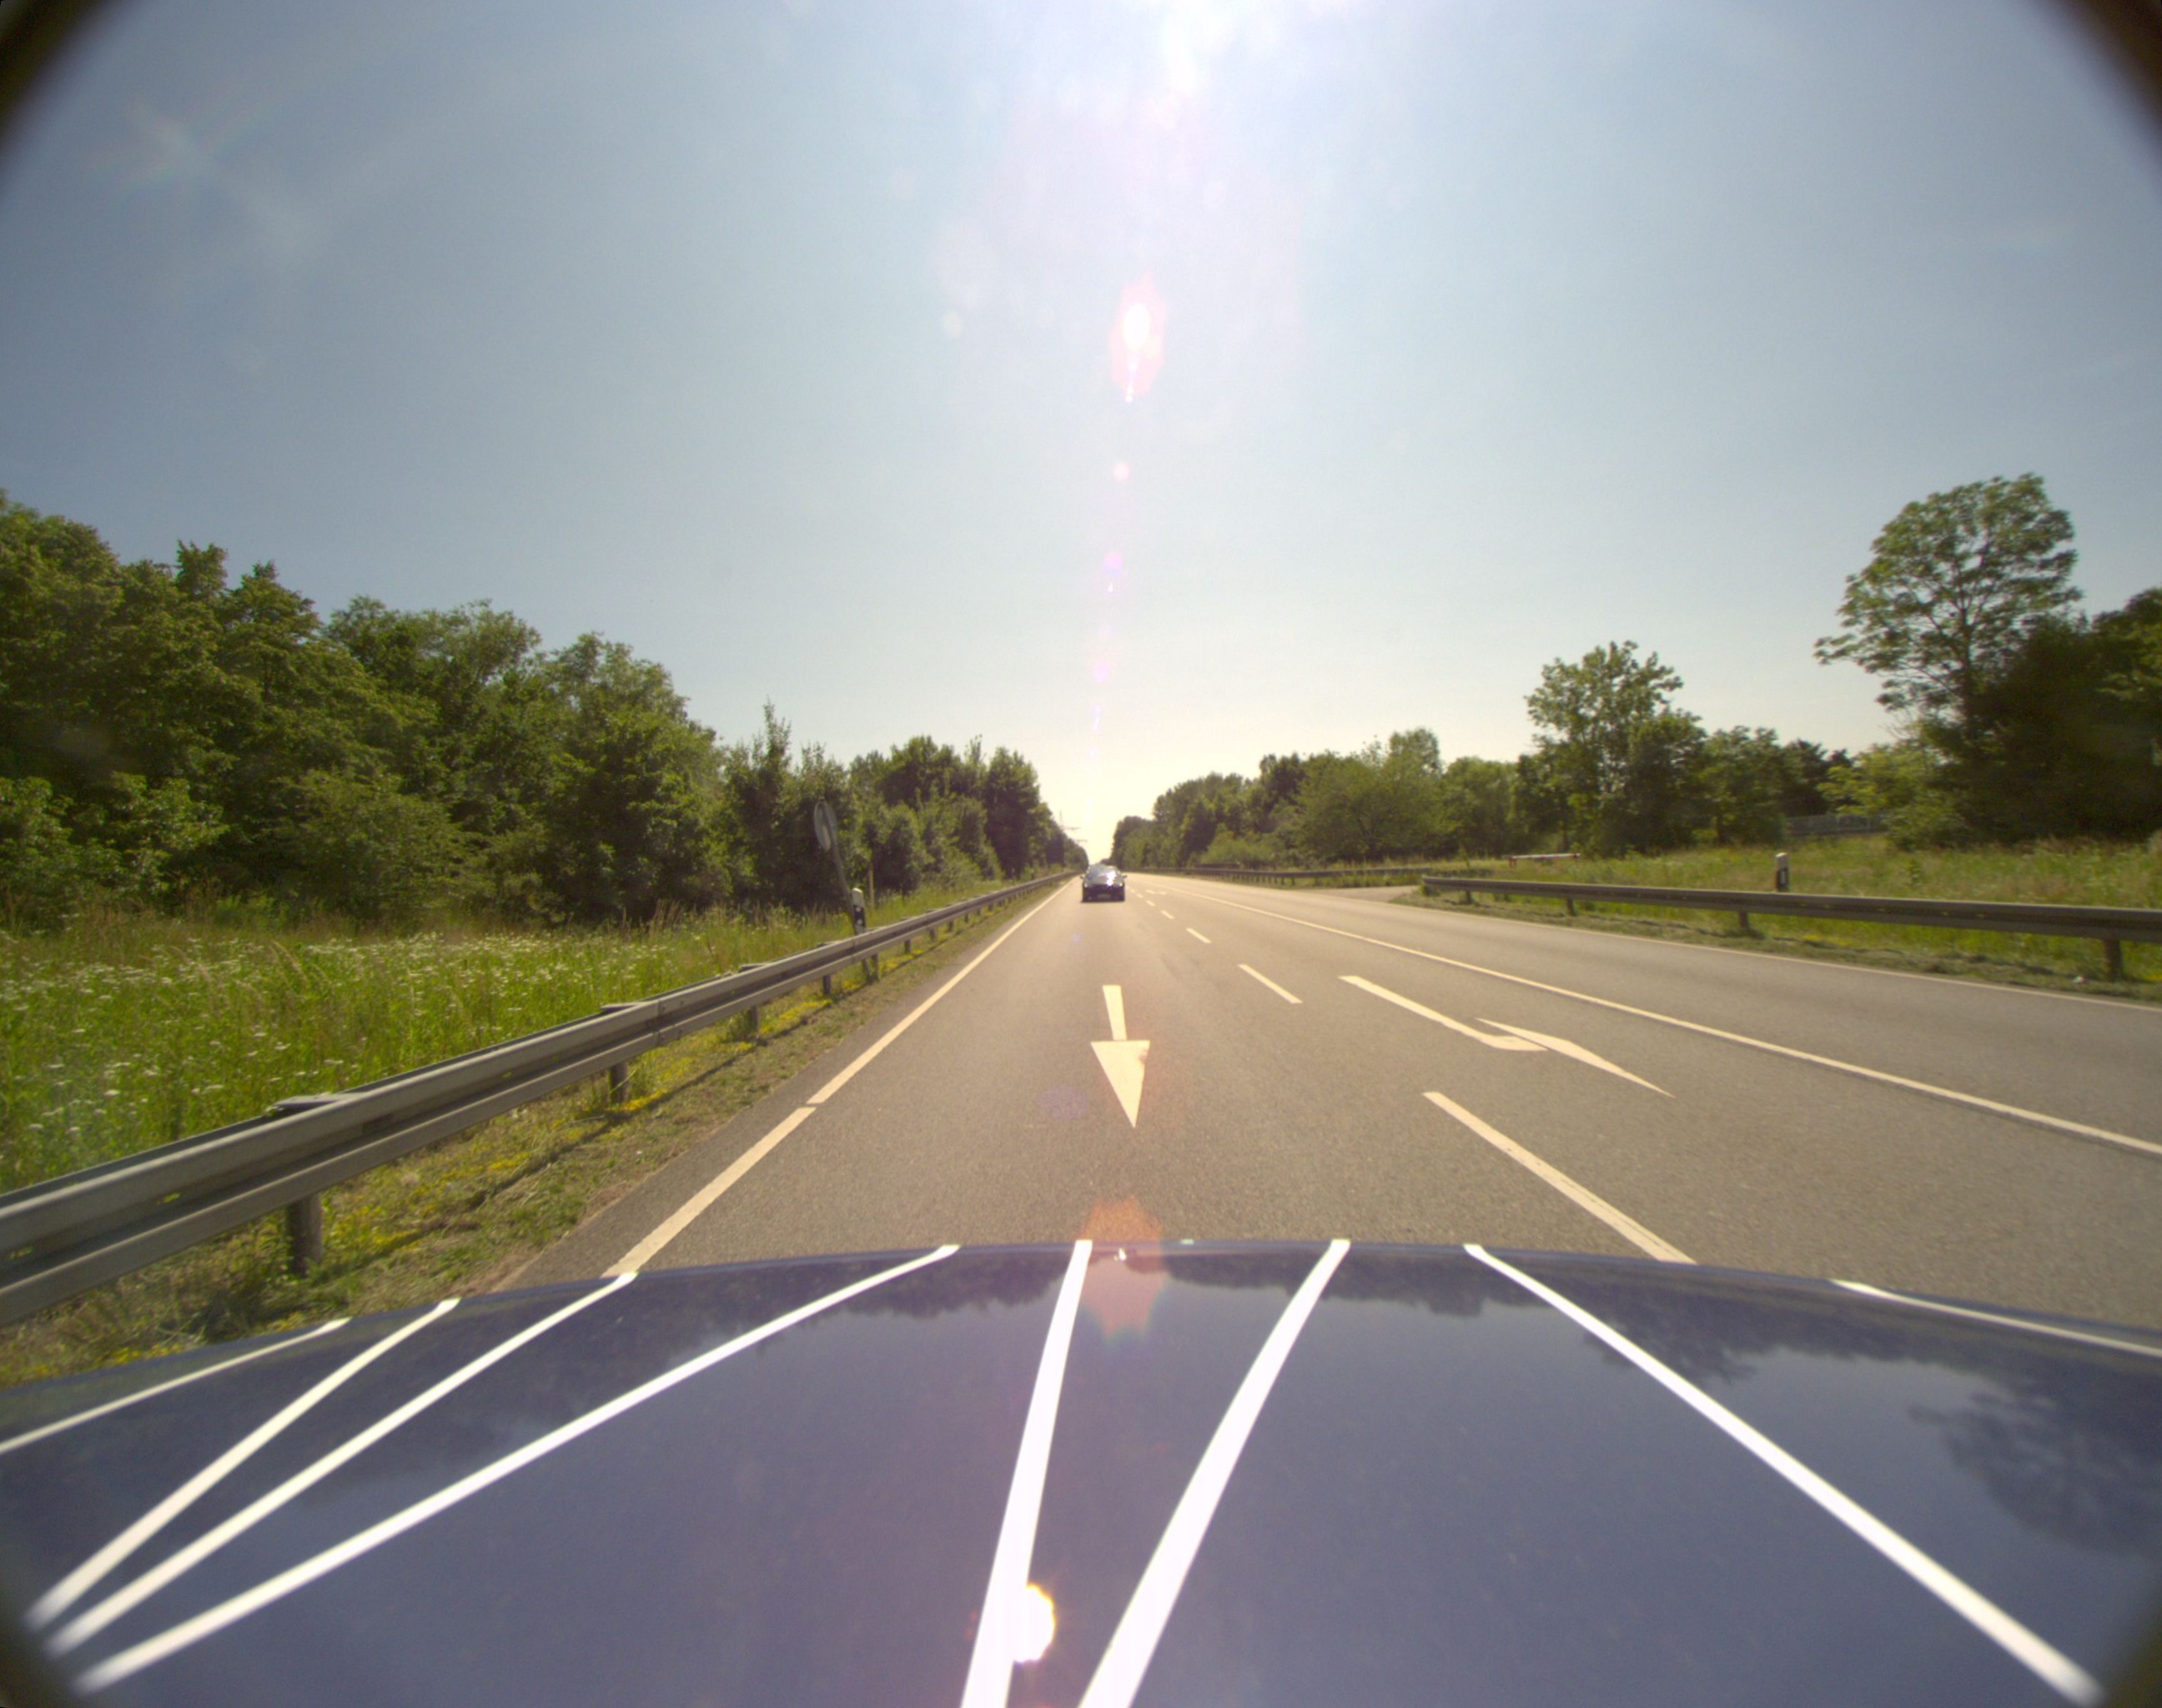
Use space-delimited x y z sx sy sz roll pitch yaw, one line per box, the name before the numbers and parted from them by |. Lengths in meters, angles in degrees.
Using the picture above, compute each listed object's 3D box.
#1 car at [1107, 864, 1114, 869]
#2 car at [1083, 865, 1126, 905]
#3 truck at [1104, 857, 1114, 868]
car | 9.266 3.883 240.461 1.822 1.537 4.527 -2 0 0
car | 0.904 1.152 29.336 1.529 1.387 3.443 -1 0 1
truck | 9.643 2.825 262.150 3.200 3.678 9.008 -2 -1 0
